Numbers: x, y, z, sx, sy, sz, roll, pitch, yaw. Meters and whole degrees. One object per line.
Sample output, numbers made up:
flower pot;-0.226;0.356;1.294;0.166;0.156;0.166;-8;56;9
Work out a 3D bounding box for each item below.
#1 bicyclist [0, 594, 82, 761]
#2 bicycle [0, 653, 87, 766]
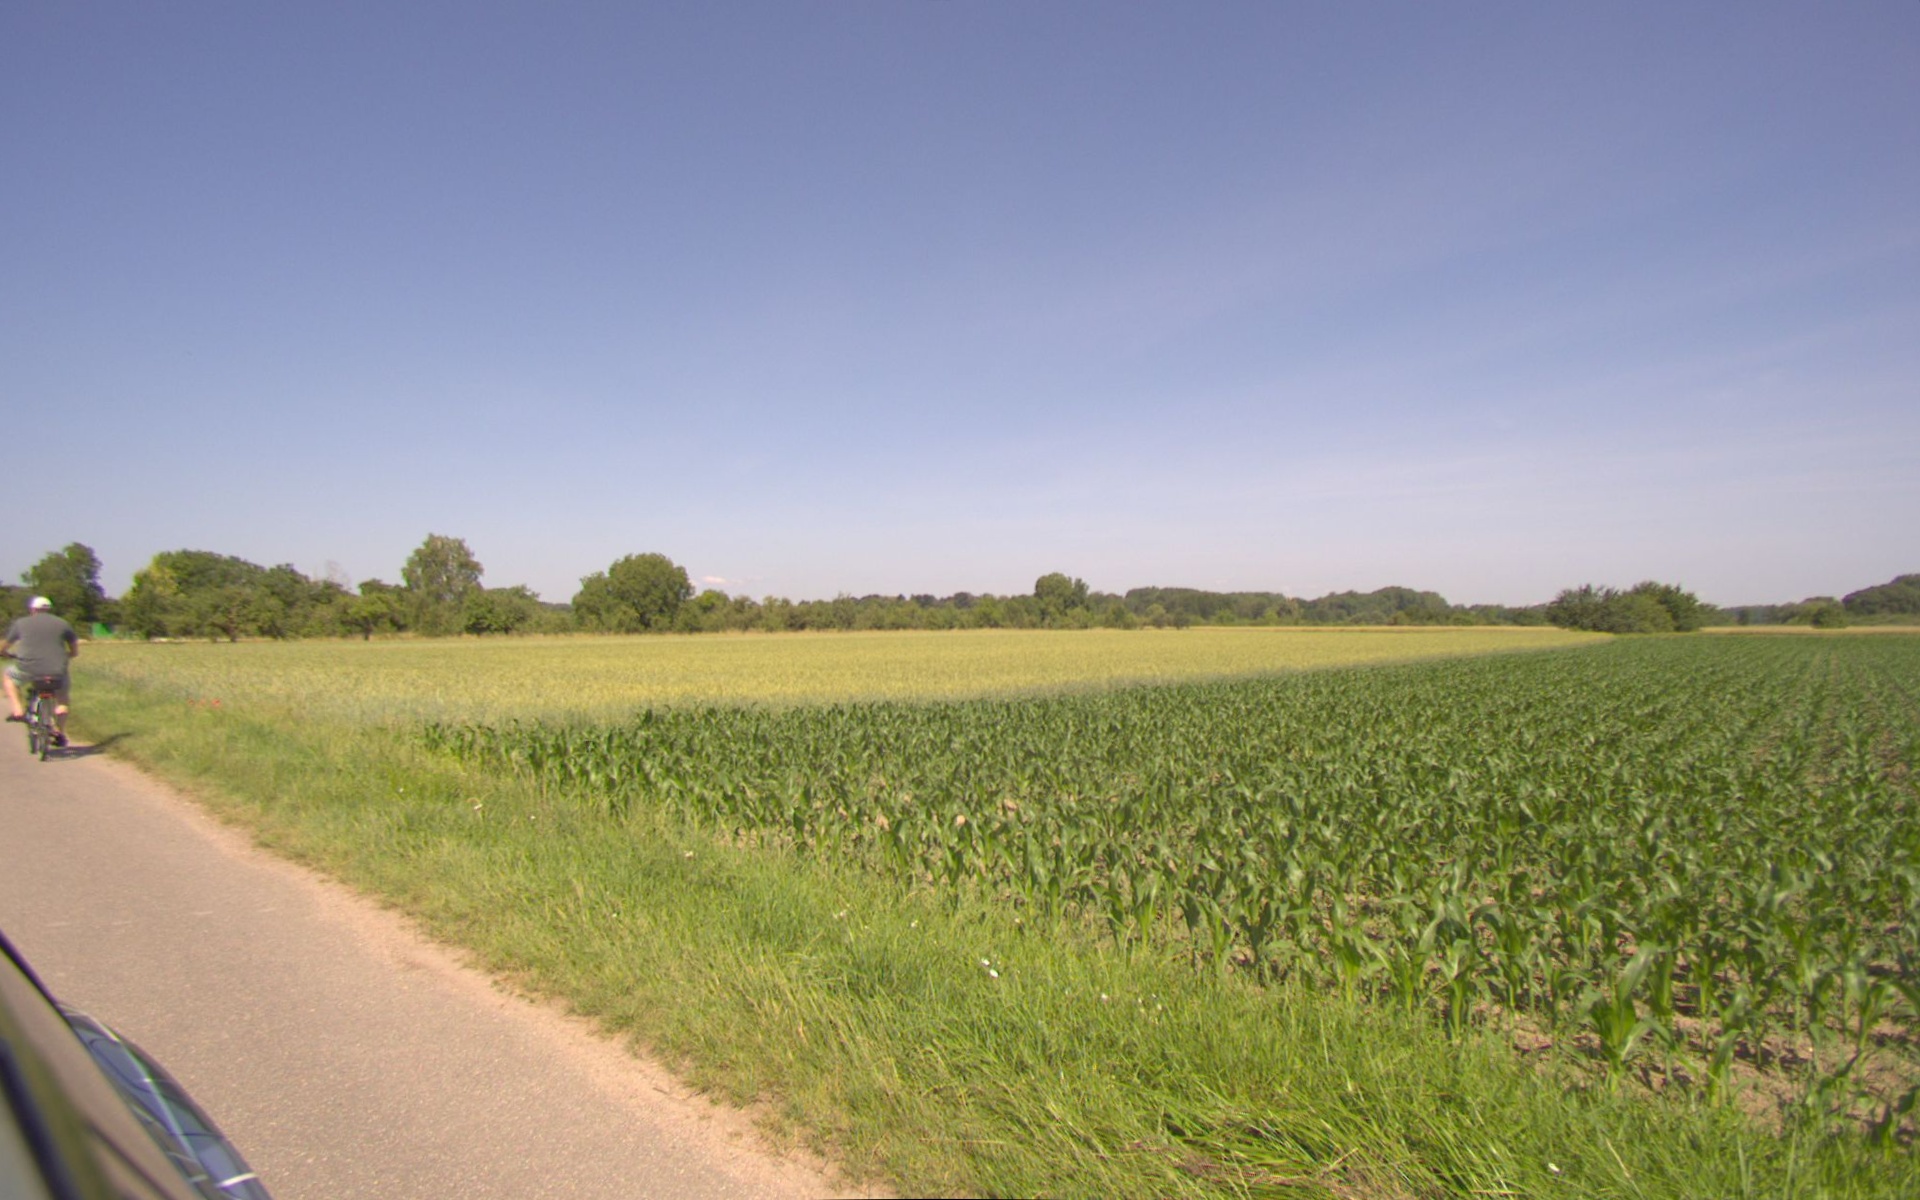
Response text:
bicyclist;-10.509;0.860;11.424;0.716;1.805;0.742;-1;-4;42
bicycle;-10.538;1.187;11.436;1.908;1.136;0.742;-1;-3;42
